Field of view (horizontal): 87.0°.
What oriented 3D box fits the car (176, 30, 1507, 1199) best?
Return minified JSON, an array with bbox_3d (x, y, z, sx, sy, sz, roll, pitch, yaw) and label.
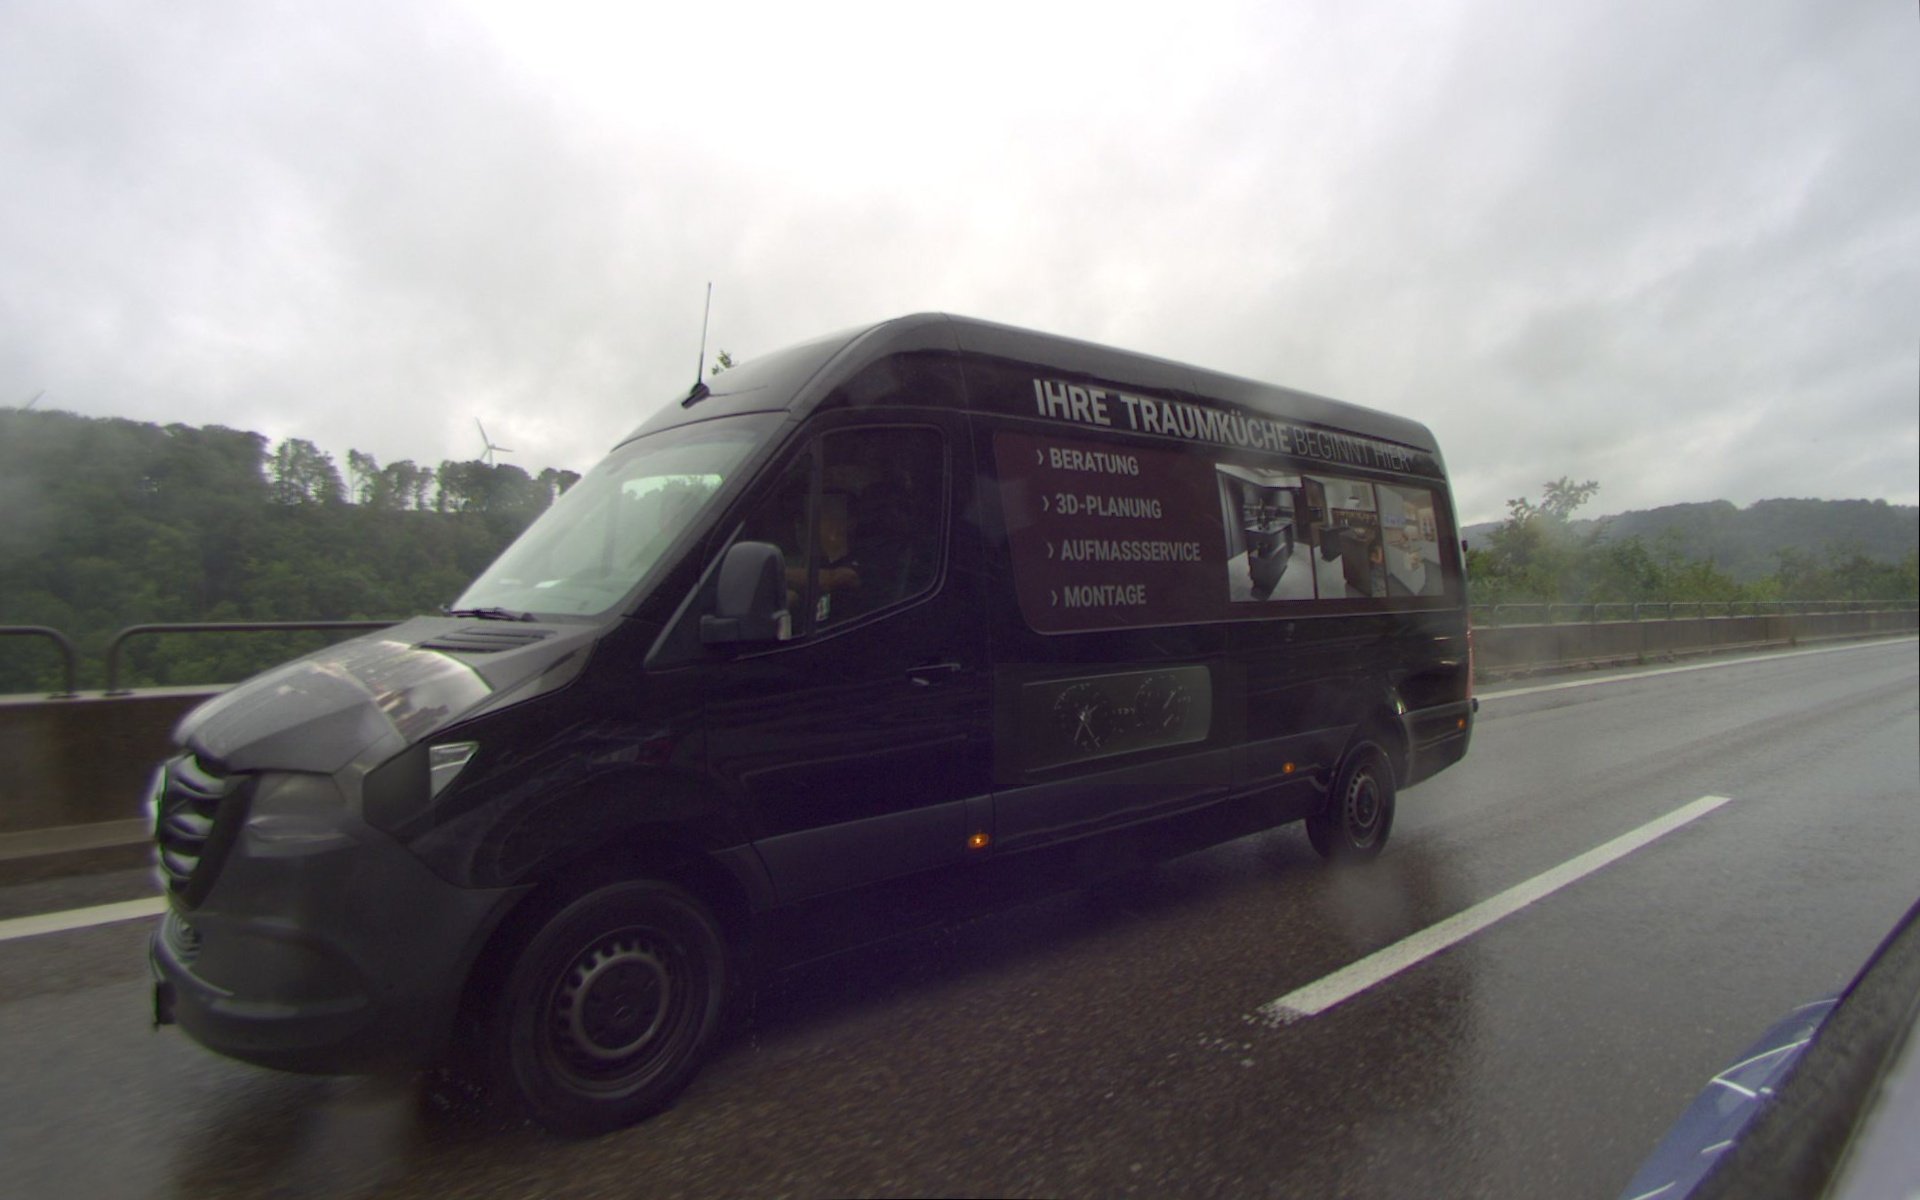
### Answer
[{"bbox_3d":[0.334,0.061,5.007,6.588,2.525,1.997,0,1,-41],"label":"car"}]
